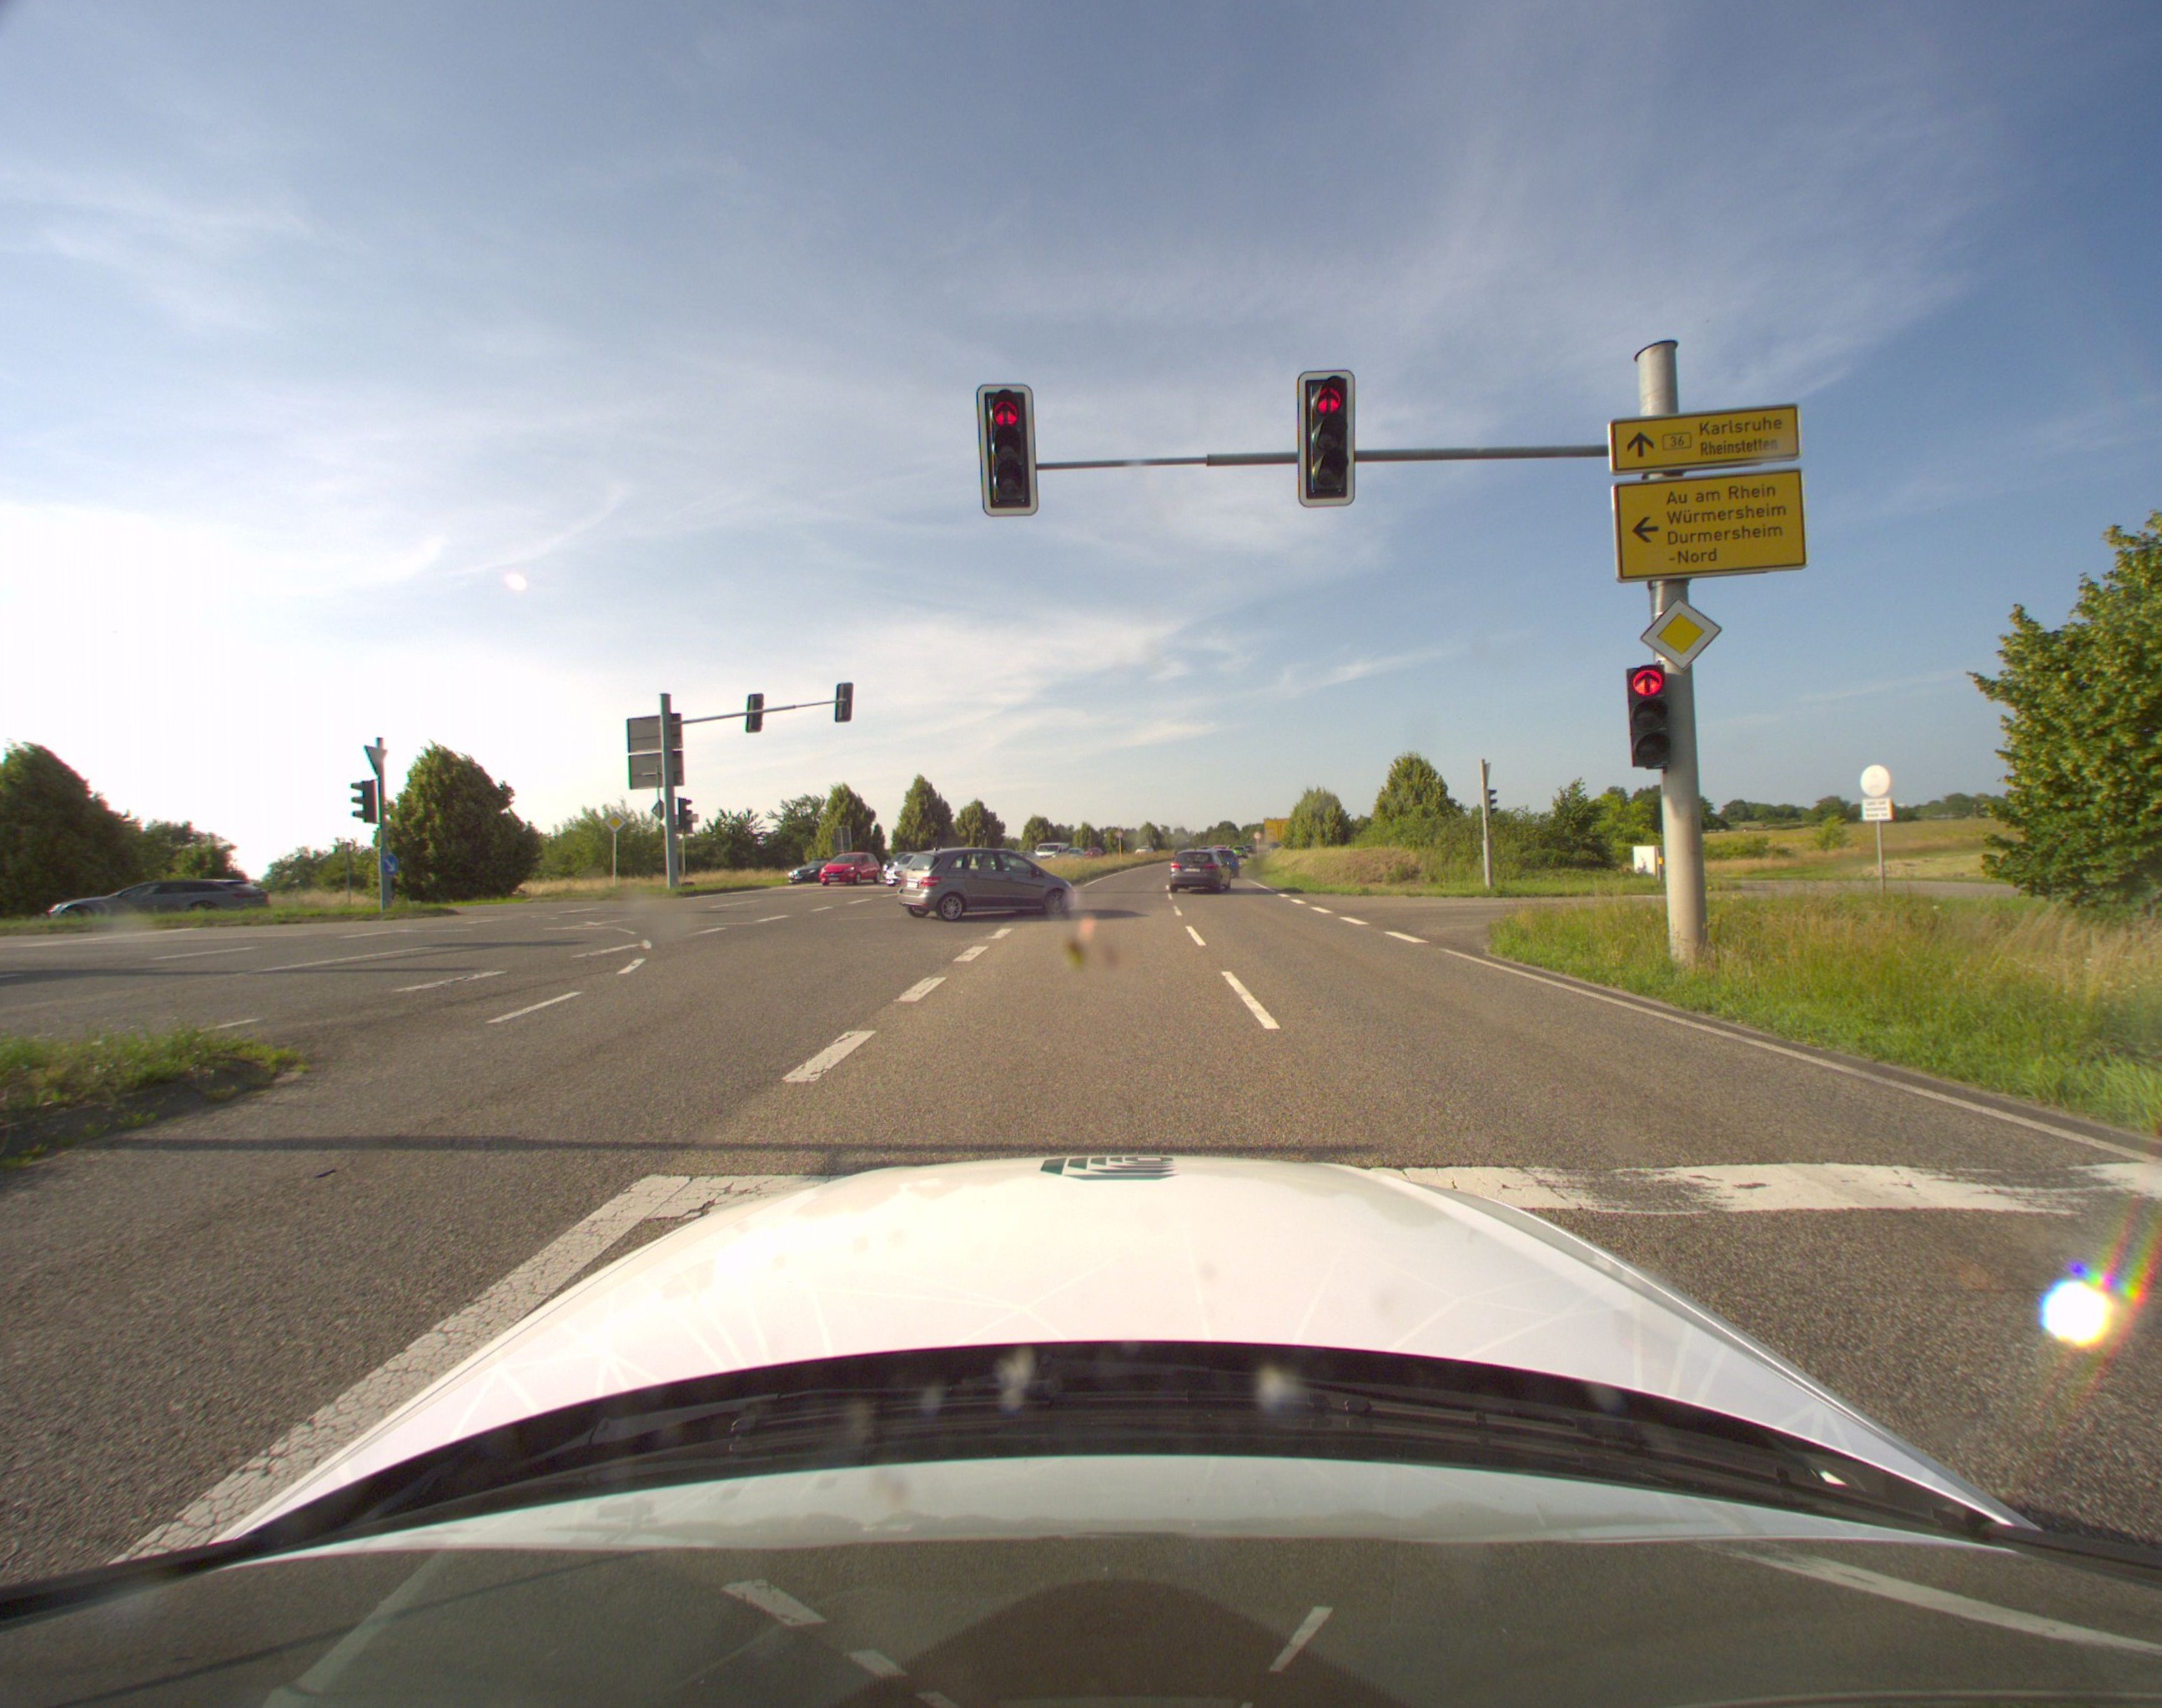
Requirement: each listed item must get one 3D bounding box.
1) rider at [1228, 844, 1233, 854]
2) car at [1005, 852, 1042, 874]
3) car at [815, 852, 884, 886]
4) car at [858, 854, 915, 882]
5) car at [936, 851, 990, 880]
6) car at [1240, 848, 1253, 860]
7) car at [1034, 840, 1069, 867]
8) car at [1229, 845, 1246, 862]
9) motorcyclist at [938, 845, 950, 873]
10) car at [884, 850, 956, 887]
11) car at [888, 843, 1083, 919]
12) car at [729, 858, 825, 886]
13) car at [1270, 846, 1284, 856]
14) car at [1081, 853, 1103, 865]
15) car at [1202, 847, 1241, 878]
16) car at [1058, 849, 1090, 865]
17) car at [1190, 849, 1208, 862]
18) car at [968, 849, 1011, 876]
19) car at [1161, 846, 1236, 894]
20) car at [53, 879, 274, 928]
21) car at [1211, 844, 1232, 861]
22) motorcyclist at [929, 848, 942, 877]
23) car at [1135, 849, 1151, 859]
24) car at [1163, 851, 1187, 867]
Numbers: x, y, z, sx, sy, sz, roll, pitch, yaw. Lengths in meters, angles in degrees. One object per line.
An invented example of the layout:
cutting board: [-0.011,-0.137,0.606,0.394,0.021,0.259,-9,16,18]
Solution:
rider: [30.835,-0.993,168.494,0.861,2.013,0.775,-2,0,17]
car: [-3.966,0.588,56.506,1.777,1.385,4.058,-2,0,6]
car: [-10.796,0.664,38.225,1.711,1.488,3.812,-2,0,7]
car: [-10.731,0.734,45.210,1.777,1.433,4.058,-2,0,6]
car: [-6.311,0.574,44.079,1.777,1.433,4.317,-2,0,6]
car: [25.723,0.076,126.749,1.896,1.734,4.292,-1,-1,12]
car: [-2.370,-0.030,65.818,1.913,2.078,4.255,-2,0,10]
car: [18.474,-0.034,96.400,1.897,1.800,4.289,-1,-1,10]
motorcyclist: [-8.942,0.314,53.138,0.660,1.817,0.605,-2,0,-1]
car: [-7.097,0.602,36.358,1.777,1.488,4.659,-2,0,6]
car: [-2.184,0.582,19.084,4.214,1.605,1.770,0,-2,-36]
car: [-15.431,0.887,41.608,1.705,1.282,4.690,-2,0,24]
car: [34.273,-0.502,142.412,1.898,1.734,4.287,-1,-1,8]
car: [1.461,0.624,105.959,1.772,1.385,4.068,-2,0,16]
car: [7.382,0.425,42.533,1.760,1.492,3.999,-1,0,13]
car: [-0.622,0.269,74.004,1.772,1.385,4.068,-2,0,16]
car: [13.870,0.207,95.797,1.824,1.377,4.291,-1,-1,11]
car: [-5.613,0.501,50.364,1.777,1.568,4.058,-2,0,6]
car: [4.283,0.515,29.091,1.795,1.565,4.552,-1,0,19]
car: [-30.447,1.604,27.228,4.683,1.292,1.429,-2,0,-27]
car: [13.867,-0.116,80.167,1.883,1.565,4.291,-1,-1,11]
motorcyclist: [-8.940,0.507,50.174,0.660,1.747,0.605,-2,0,-1]
car: [9.548,0.021,125.090,1.772,1.385,4.068,-2,0,16]
car: [8.269,0.502,71.385,1.897,1.323,4.289,-1,-1,10]
